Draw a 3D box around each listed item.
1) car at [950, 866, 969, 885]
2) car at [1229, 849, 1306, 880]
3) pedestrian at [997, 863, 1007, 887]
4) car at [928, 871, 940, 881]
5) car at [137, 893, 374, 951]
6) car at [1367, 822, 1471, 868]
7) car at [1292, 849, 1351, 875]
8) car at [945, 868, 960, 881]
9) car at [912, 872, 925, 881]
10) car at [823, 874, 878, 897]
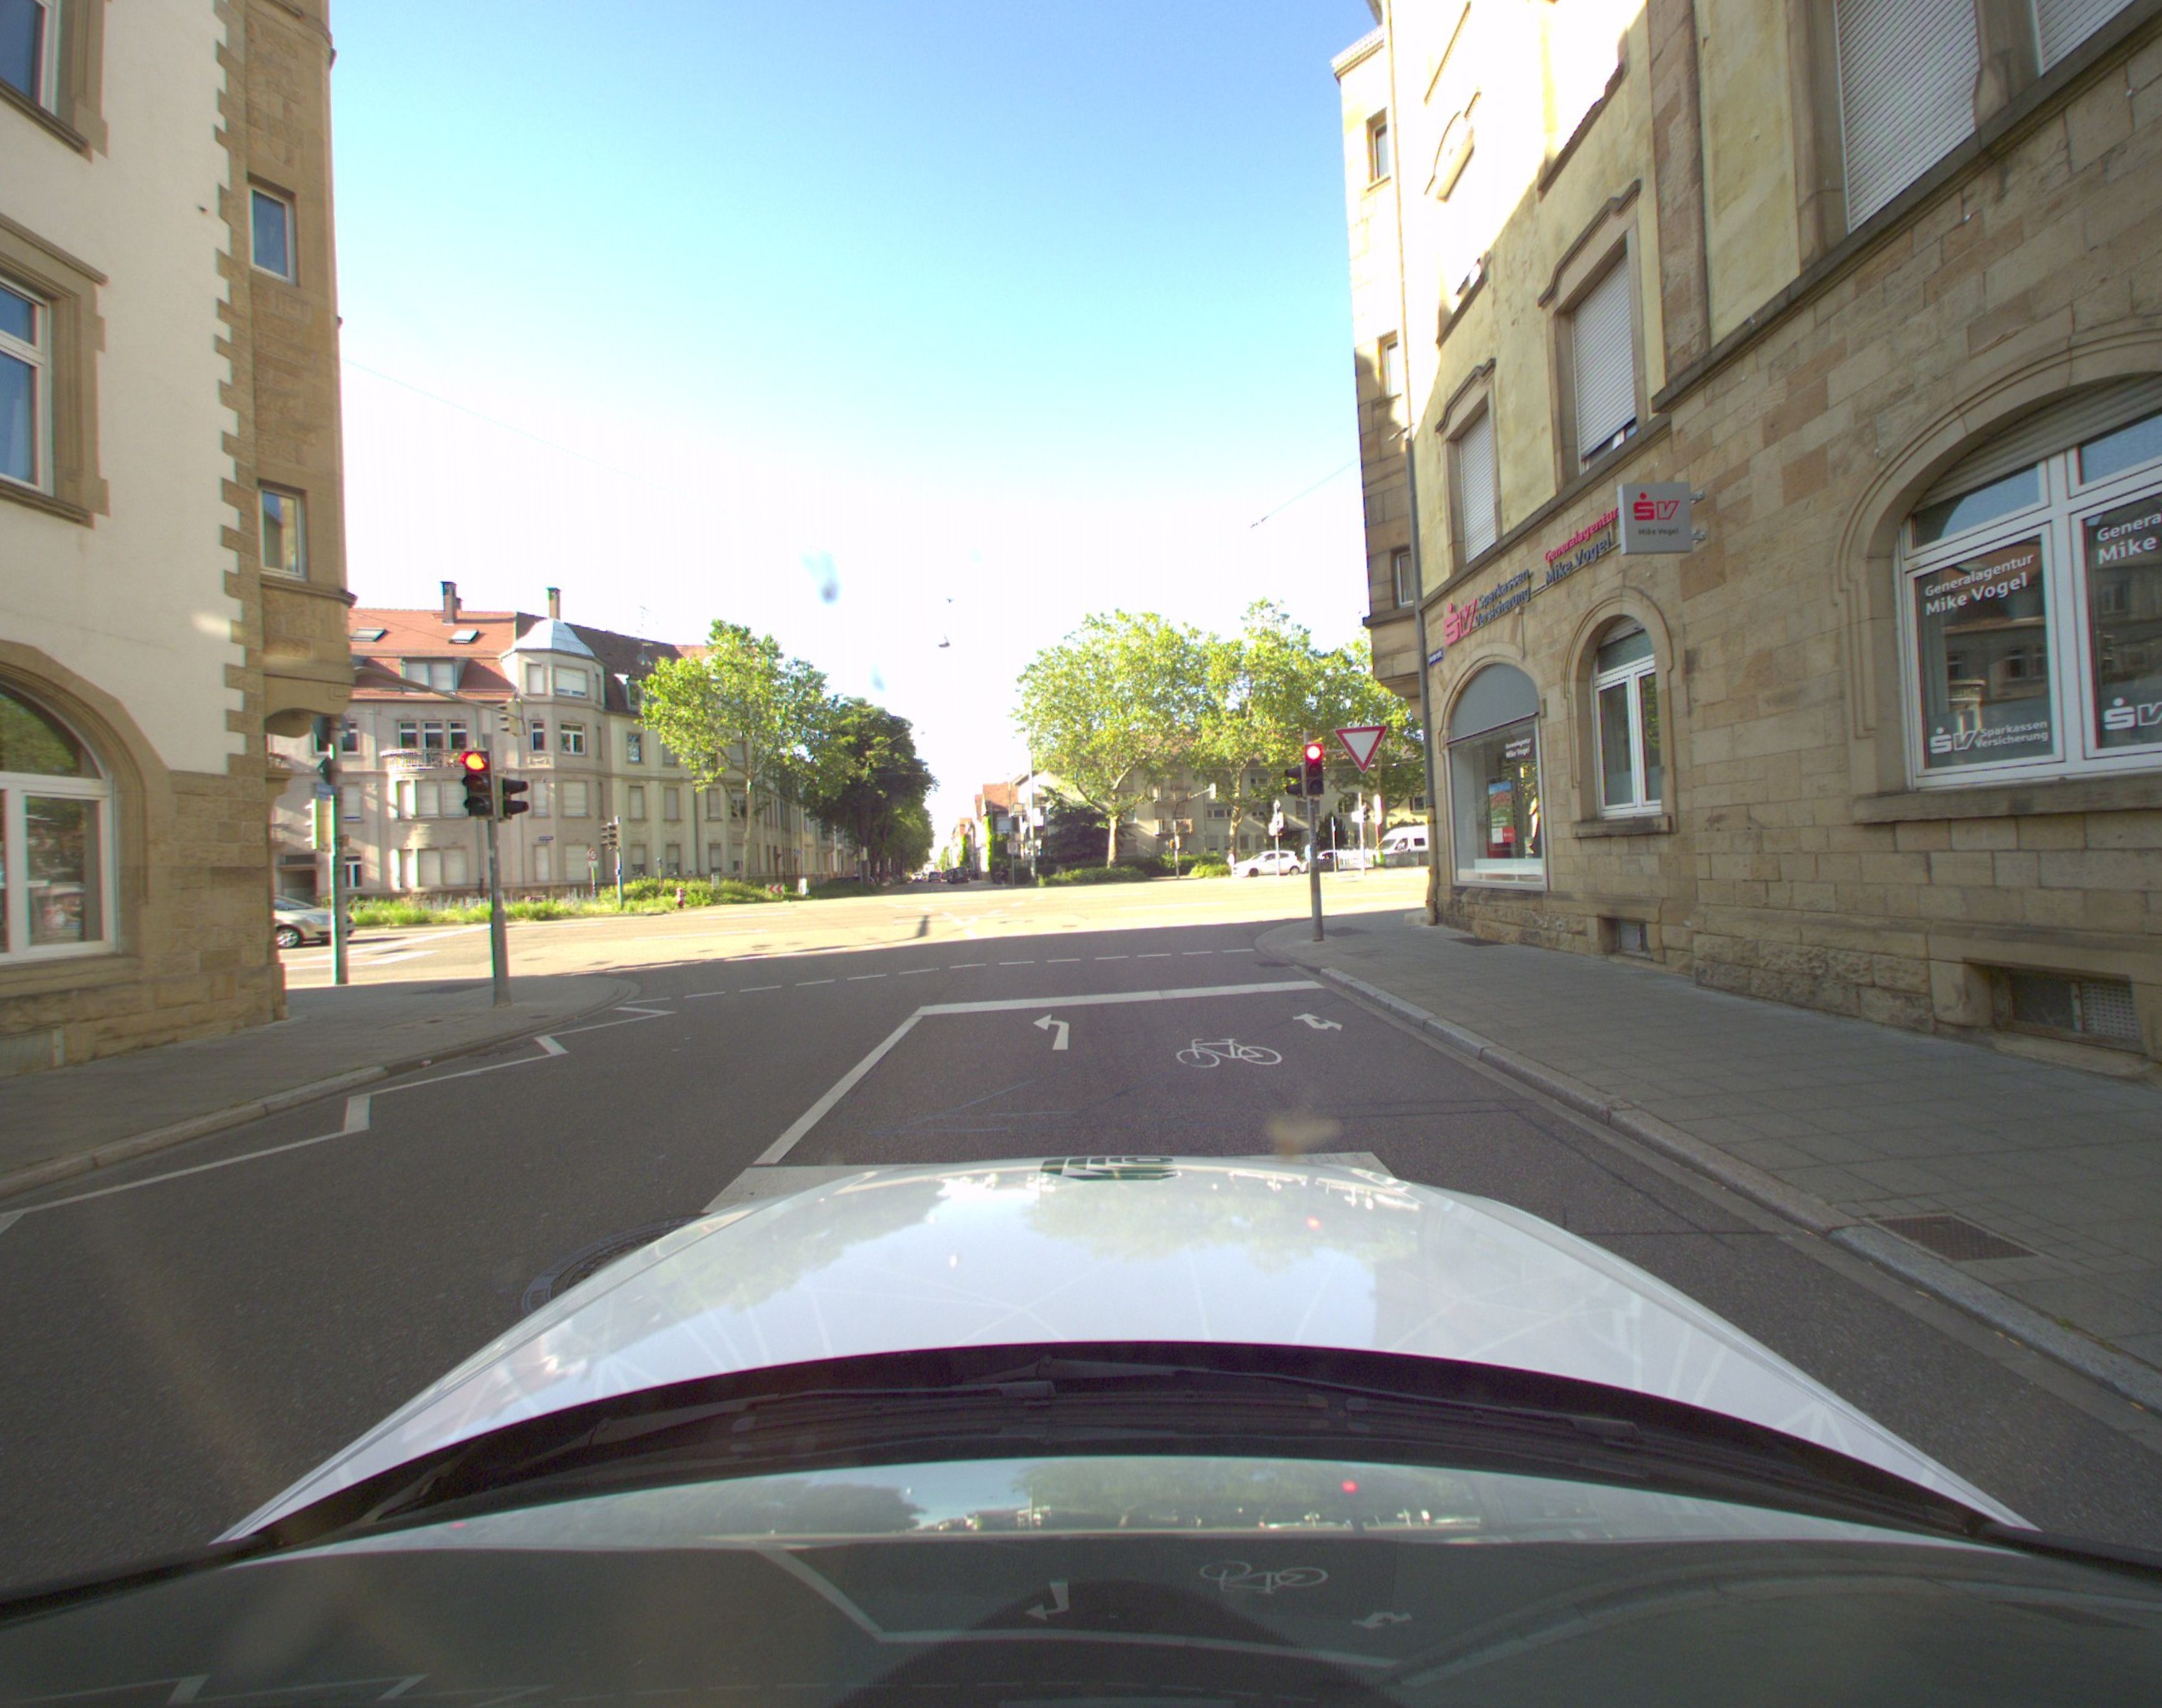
[{"bbox_3d":[-14.136,2.467,95.113,1.992,2.013,3.989,-3,0,-8],"label":"car"},{"bbox_3d":[10.382,0.582,45.479,3.786,1.472,1.625,-3,0,-9],"label":"car"},{"bbox_3d":[-5.874,1.564,60.444,0.631,1.750,0.658,-2,-1,-2],"label":"pedestrian"},{"bbox_3d":[-23.453,3.560,129.929,1.674,1.483,3.510,-2,-1,-9],"label":"car"},{"bbox_3d":[-21.708,1.764,21.630,3.995,1.319,1.812,0,-1,-16],"label":"car"},{"bbox_3d":[21.342,-0.548,51.391,6.054,2.568,1.989,-3,0,-17],"label":"car"},{"bbox_3d":[15.659,0.498,53.076,3.391,1.487,1.515,-3,0,-20],"label":"car"},{"bbox_3d":[-19.895,3.196,126.027,1.996,1.833,3.980,-1,-1,-14],"label":"car"},{"bbox_3d":[-26.793,3.687,134.131,1.995,1.445,3.983,-3,0,-12],"label":"car"},{"bbox_3d":[-18.194,2.486,64.306,3.997,1.486,1.672,-3,0,-17],"label":"car"}]
